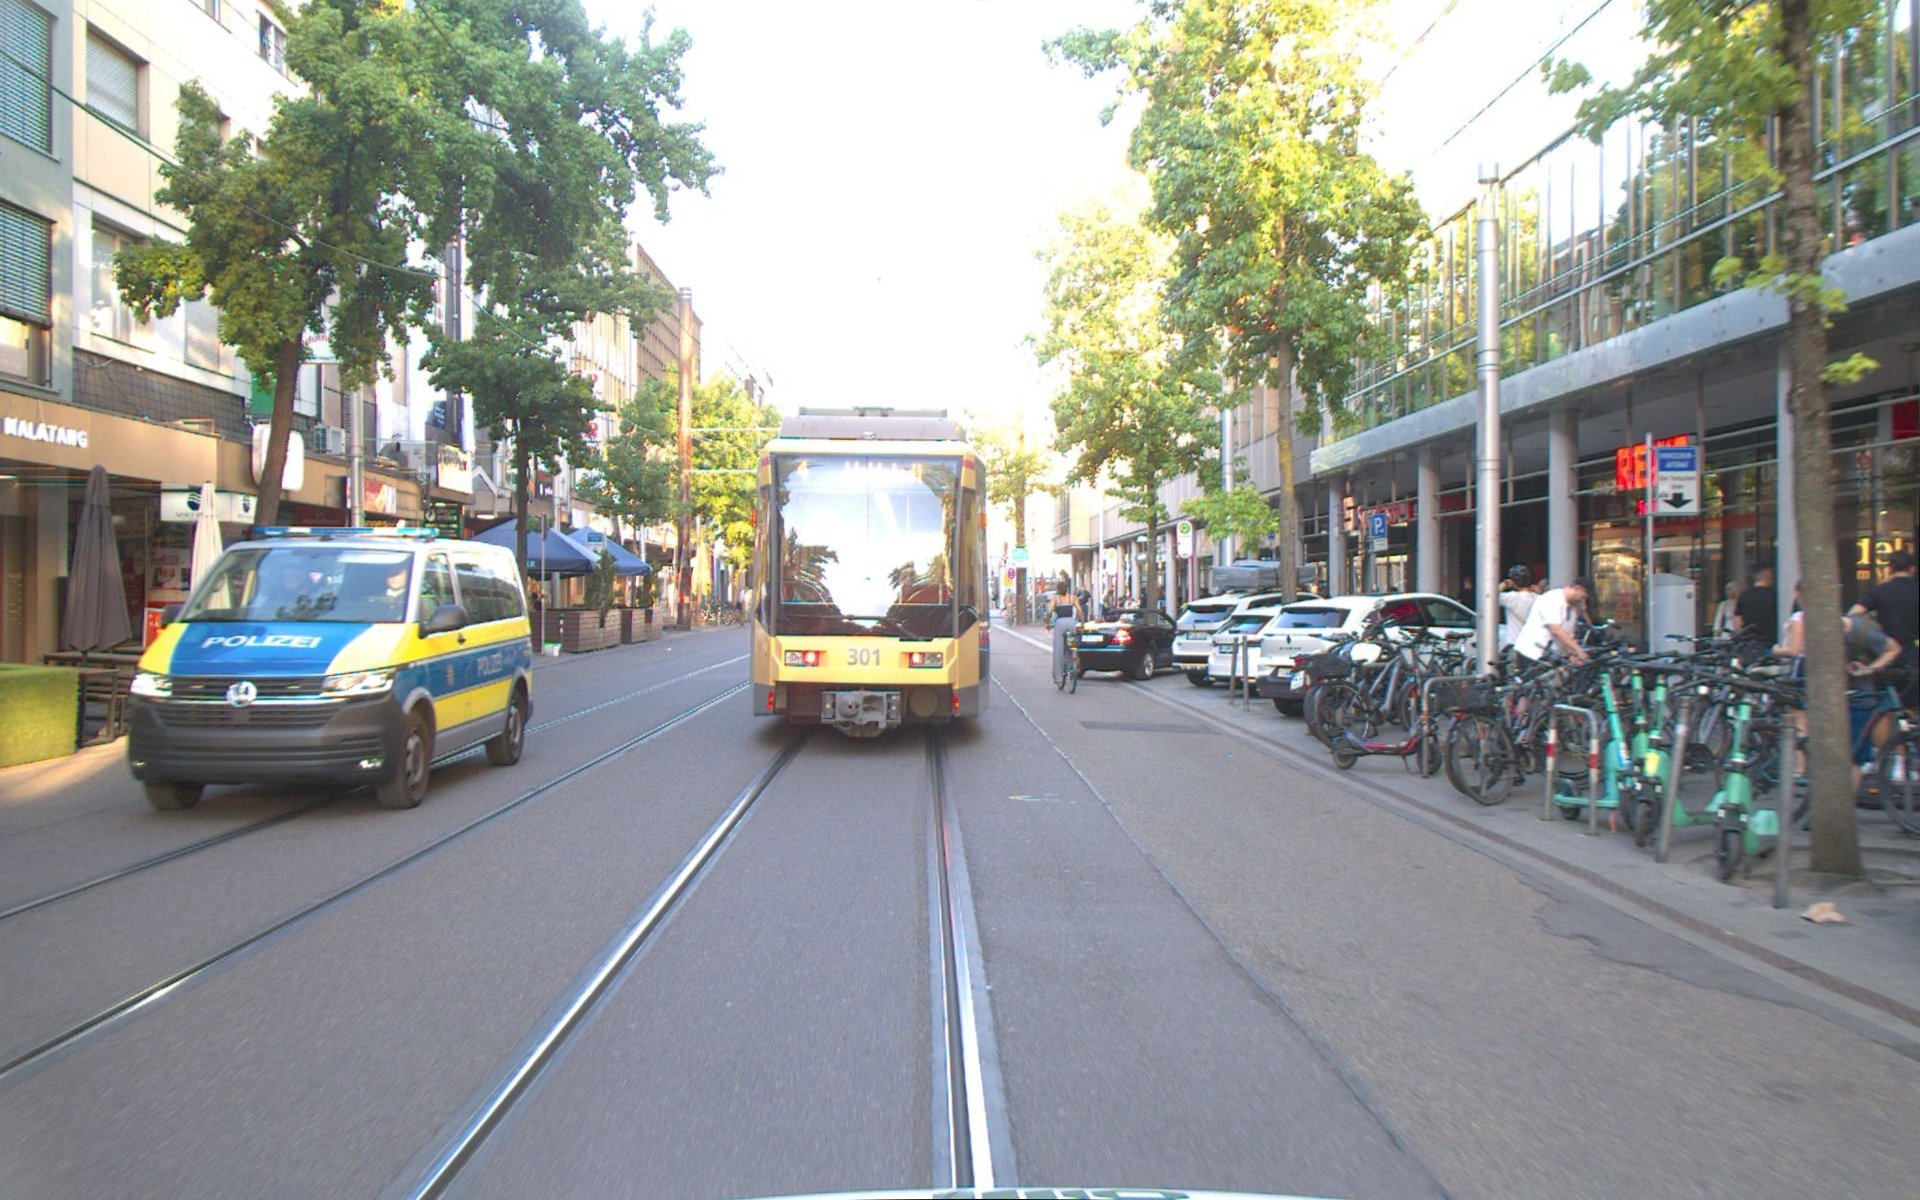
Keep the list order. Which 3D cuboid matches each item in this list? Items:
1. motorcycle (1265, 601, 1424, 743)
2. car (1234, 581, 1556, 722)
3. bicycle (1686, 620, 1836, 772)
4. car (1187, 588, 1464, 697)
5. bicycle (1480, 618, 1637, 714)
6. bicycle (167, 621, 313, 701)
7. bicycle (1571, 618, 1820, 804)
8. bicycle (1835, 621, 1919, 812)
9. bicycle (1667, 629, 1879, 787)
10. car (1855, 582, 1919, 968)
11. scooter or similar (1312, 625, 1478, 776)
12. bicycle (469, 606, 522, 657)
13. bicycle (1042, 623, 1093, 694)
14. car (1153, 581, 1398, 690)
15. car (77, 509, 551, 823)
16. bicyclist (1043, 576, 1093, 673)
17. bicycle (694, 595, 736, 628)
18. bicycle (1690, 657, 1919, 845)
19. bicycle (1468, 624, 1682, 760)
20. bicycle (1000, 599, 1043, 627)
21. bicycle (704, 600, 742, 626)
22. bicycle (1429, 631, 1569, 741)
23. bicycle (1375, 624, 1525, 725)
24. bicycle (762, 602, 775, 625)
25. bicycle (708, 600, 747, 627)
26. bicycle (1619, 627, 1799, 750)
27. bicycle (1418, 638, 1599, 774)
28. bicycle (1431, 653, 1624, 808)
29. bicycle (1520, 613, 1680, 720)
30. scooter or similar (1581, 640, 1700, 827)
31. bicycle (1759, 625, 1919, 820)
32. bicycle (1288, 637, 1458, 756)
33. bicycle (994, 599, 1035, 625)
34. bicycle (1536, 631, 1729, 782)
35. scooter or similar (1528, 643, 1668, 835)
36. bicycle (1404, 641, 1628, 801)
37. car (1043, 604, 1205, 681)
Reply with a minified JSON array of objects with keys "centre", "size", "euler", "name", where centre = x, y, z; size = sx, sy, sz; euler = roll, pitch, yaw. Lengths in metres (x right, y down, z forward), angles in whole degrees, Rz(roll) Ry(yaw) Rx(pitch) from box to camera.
[{"centre":[4.504,0.794,19.266],"size":[0.782,1.497,2.190],"euler":[0,2,44],"name":"motorcycle"},{"centre":[5.930,0.644,22.375],"size":[4.293,1.590,1.854],"euler":[-3,0,-35],"name":"car"},{"centre":[7.172,0.820,14.780],"size":[1.680,1.210,0.547],"euler":[-3,1,-40],"name":"bicycle"},{"centre":[5.979,0.657,27.030],"size":[4.119,1.483,1.849],"euler":[-3,0,-25],"name":"car"},{"centre":[7.609,0.815,21.032],"size":[1.722,1.137,0.928],"euler":[-1,0,-26],"name":"bicycle"},{"centre":[-10.352,0.852,23.852],"size":[0.599,1.087,2.017],"euler":[0,0,27],"name":"bicycle"},{"centre":[5.748,0.833,12.919],"size":[1.801,1.296,0.677],"euler":[-2,1,-20],"name":"bicycle"},{"centre":[7.083,0.810,11.613],"size":[1.564,1.311,0.577],"euler":[-1,1,38],"name":"bicycle"},{"centre":[6.724,0.869,13.676],"size":[1.663,1.169,0.499],"euler":[-2,1,-17],"name":"bicycle"},{"centre":[6.421,0.677,8.019],"size":[4.627,1.668,1.929],"euler":[-2,0,-38],"name":"car"},{"centre":[4.108,0.917,15.669],"size":[0.690,1.327,1.373],"euler":[-1,1,-40],"name":"scooter or similar"},{"centre":[-10.984,0.732,39.089],"size":[0.802,1.122,2.146],"euler":[0,1,-27],"name":"bicycle"},{"centre":[1.758,0.938,27.201],"size":[0.642,1.079,2.056],"euler":[2,0,-1],"name":"bicycle"},{"centre":[5.692,0.590,29.693],"size":[4.157,1.666,1.898],"euler":[-3,1,-34],"name":"car"},{"centre":[-4.750,0.420,13.065],"size":[1.953,2.011,4.848],"euler":[0,0,-2],"name":"car"},{"centre":[1.780,0.409,27.304],"size":[0.712,1.553,0.733],"euler":[2,-1,-1],"name":"bicyclist"},{"centre":[-11.059,0.530,74.541],"size":[1.767,1.384,0.658],"euler":[3,-1,-14],"name":"bicycle"},{"centre":[5.847,0.959,10.852],"size":[0.624,1.095,1.855],"euler":[-3,1,-37],"name":"bicycle"},{"centre":[6.000,0.873,16.132],"size":[1.965,1.168,0.694],"euler":[-3,1,-20],"name":"bicycle"},{"centre":[3.442,0.730,92.782],"size":[2.283,1.497,0.790],"euler":[1,-1,-5],"name":"bicycle"},{"centre":[-11.295,0.633,78.716],"size":[1.699,1.146,0.563],"euler":[3,-1,-6],"name":"bicycle"},{"centre":[6.025,0.936,18.468],"size":[1.576,1.051,0.547],"euler":[-5,2,-32],"name":"bicycle"},{"centre":[6.049,0.895,20.405],"size":[1.730,1.137,0.907],"euler":[-1,0,-36],"name":"bicycle"},{"centre":[-9.830,0.699,84.804],"size":[0.600,1.146,2.248],"euler":[3,-1,-7],"name":"bicycle"},{"centre":[-10.732,0.612,76.301],"size":[1.701,1.146,0.612],"euler":[3,-1,-8],"name":"bicycle"},{"centre":[7.561,0.863,16.682],"size":[1.810,1.113,0.815],"euler":[-1,0,-33],"name":"bicycle"},{"centre":[5.171,0.963,15.560],"size":[1.811,1.095,0.617],"euler":[-3,2,-34],"name":"bicycle"},{"centre":[4.603,1.023,13.372],"size":[1.726,1.095,0.488],"euler":[-2,1,-32],"name":"bicycle"},{"centre":[7.489,0.750,19.335],"size":[1.768,1.136,0.835],"euler":[-2,0,-31],"name":"bicycle"},{"centre":[4.920,0.938,12.012],"size":[0.556,1.226,1.282],"euler":[-2,0,13],"name":"scooter or similar"},{"centre":[6.447,0.824,11.366],"size":[1.628,1.271,0.639],"euler":[-1,1,35],"name":"bicycle"},{"centre":[4.394,0.995,17.565],"size":[1.728,1.136,0.797],"euler":[-1,1,-34],"name":"bicycle"},{"centre":[3.199,0.712,96.867],"size":[2.283,1.497,0.790],"euler":[1,-1,-5],"name":"bicycle"},{"centre":[5.791,0.892,14.228],"size":[1.658,1.158,0.475],"euler":[-2,1,-22],"name":"bicycle"},{"centre":[4.490,0.951,11.711],"size":[0.472,1.243,1.214],"euler":[-2,0,0],"name":"scooter or similar"},{"centre":[4.676,0.975,13.861],"size":[1.968,1.150,0.673],"euler":[-3,1,-32],"name":"bicycle"},{"centre":[3.357,0.803,33.130],"size":[1.766,1.372,4.441],"euler":[0,1,27],"name":"car"}]
